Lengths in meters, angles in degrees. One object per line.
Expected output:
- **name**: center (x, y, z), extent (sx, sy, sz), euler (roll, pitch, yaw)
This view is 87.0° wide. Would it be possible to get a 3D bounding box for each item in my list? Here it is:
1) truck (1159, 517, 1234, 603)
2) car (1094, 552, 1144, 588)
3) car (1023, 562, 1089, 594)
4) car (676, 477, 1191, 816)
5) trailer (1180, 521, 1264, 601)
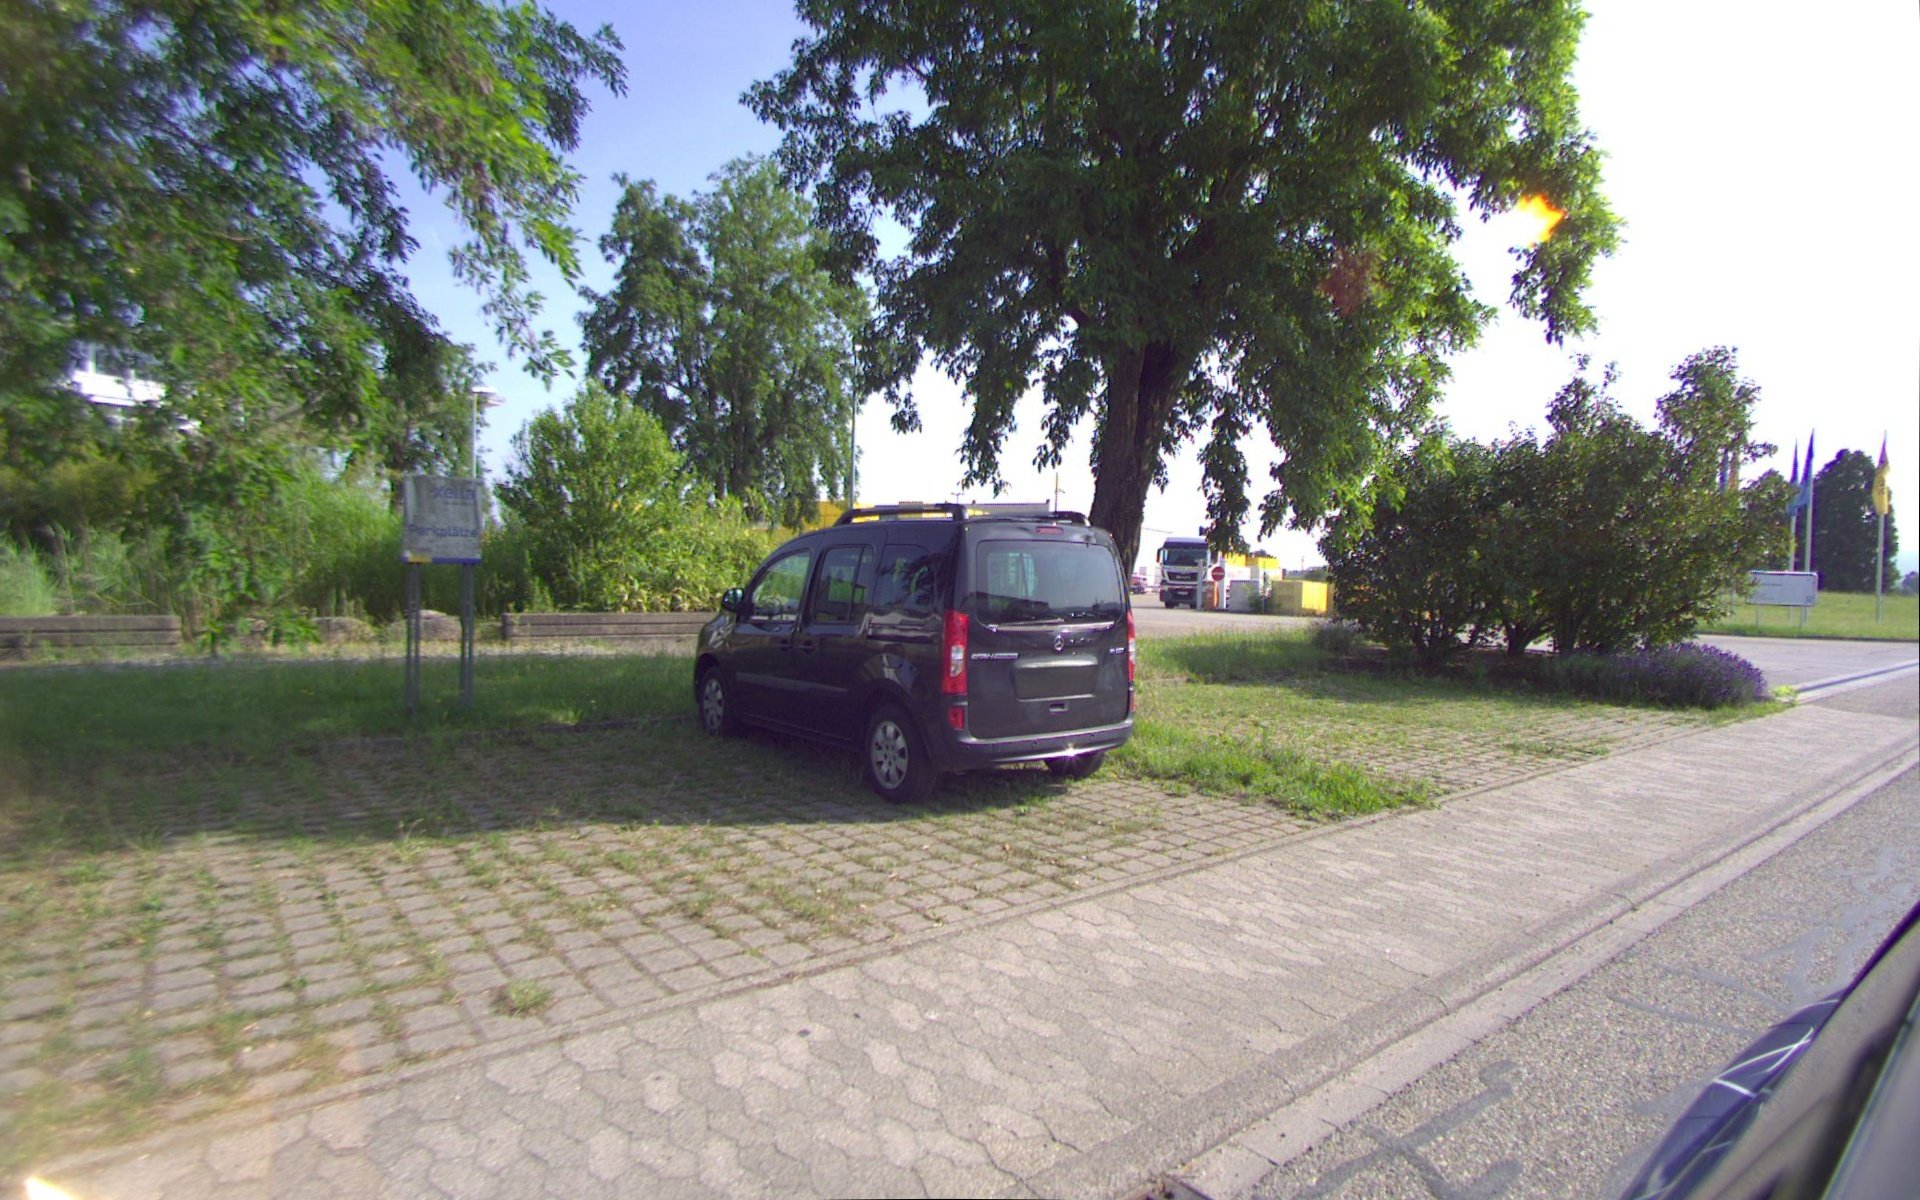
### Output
- **truck**: center (11.435, -1.878, 48.774), extent (2.523, 3.924, 3.960), euler (-1, 0, 29)
- **car**: center (12.538, -2.378, 80.077), extent (3.486, 2.744, 1.693), euler (3, 2, 31)
- **car**: center (6.528, -1.492, 68.635), extent (3.967, 2.038, 1.979), euler (3, 2, 30)
- **car**: center (-0.458, 0.169, 7.749), extent (1.963, 1.860, 3.999), euler (0, 2, -37)
- **trailer**: center (13.925, -1.981, 53.340), extent (2.463, 3.924, 7.723), euler (-1, 1, 29)
